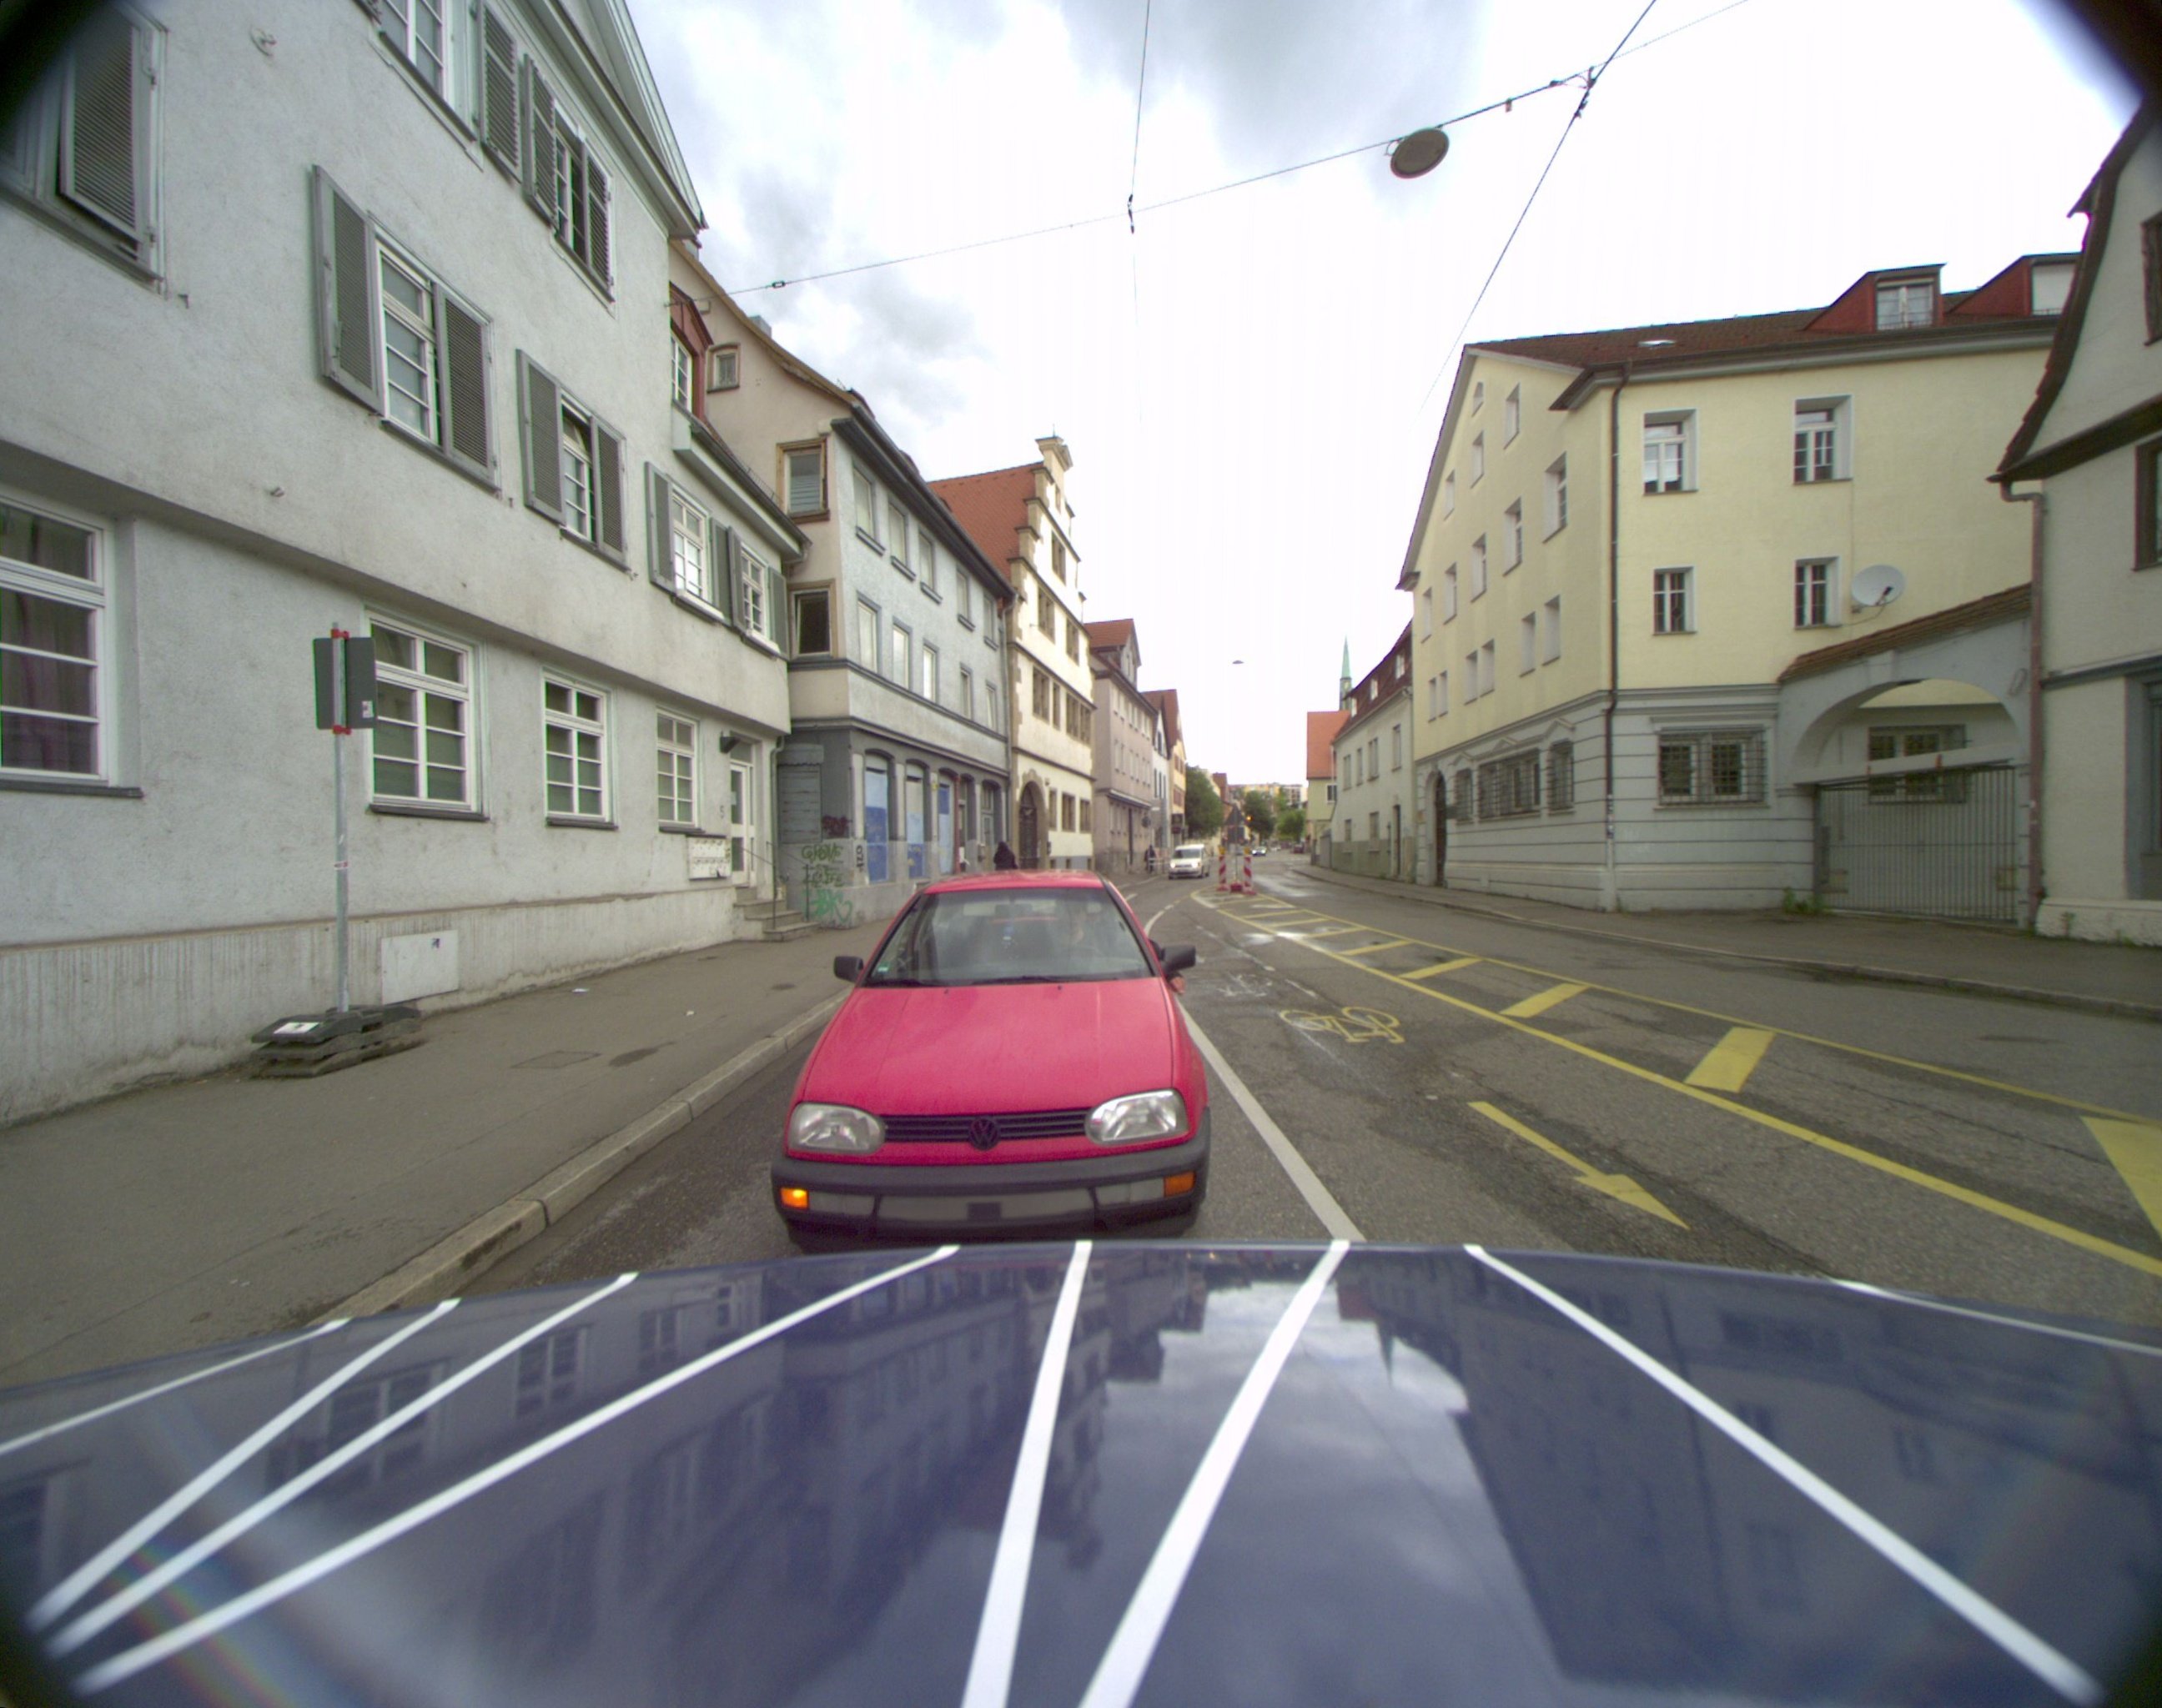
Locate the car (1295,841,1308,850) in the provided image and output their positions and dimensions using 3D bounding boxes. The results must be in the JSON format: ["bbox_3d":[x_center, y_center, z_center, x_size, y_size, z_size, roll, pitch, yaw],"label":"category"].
[{"bbox_3d":[42.619,-1.667,146.795,2.210,1.668,4.502,0,1,14],"label":"car"}]

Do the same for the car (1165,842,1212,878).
[{"bbox_3d":[5.785,0.267,40.406,1.996,1.777,4.471,0,2,14],"label":"car"}]

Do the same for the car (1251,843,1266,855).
[{"bbox_3d":[27.490,-0.821,117.703,1.996,1.669,4.004,-1,1,15],"label":"car"}]

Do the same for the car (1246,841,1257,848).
[{"bbox_3d":[34.607,-1.872,154.216,1.819,1.380,4.005,0,1,17],"label":"car"}]

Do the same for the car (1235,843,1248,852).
[{"bbox_3d":[28.288,-1.122,133.614,2.031,1.546,4.004,0,1,14],"label":"car"}]

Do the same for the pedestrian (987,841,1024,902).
[{"bbox_3d":[-2.117,0.493,21.428,0.756,1.658,0.810,2,1,13],"label":"pedestrian"}]

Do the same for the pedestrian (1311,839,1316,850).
[{"bbox_3d":[44.140,-1.837,144.508,0.835,2.002,0.846,-1,1,13],"label":"pedestrian"}]

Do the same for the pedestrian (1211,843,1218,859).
[{"bbox_3d":[20.257,-0.435,115.302,0.901,2.297,0.821,-1,0,13],"label":"pedestrian"}]

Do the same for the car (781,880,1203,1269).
[{"bbox_3d":[-0.336,0.964,5.095,1.685,1.418,4.021,-1,0,1],"label":"car"}]

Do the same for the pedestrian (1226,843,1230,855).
[{"bbox_3d":[24.854,-0.827,128.118,0.660,2.103,0.646,-1,0,10],"label":"pedestrian"}]

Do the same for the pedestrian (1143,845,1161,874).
[{"bbox_3d":[4.147,0.319,44.211,0.833,1.646,0.945,-1,0,15],"label":"pedestrian"}]
